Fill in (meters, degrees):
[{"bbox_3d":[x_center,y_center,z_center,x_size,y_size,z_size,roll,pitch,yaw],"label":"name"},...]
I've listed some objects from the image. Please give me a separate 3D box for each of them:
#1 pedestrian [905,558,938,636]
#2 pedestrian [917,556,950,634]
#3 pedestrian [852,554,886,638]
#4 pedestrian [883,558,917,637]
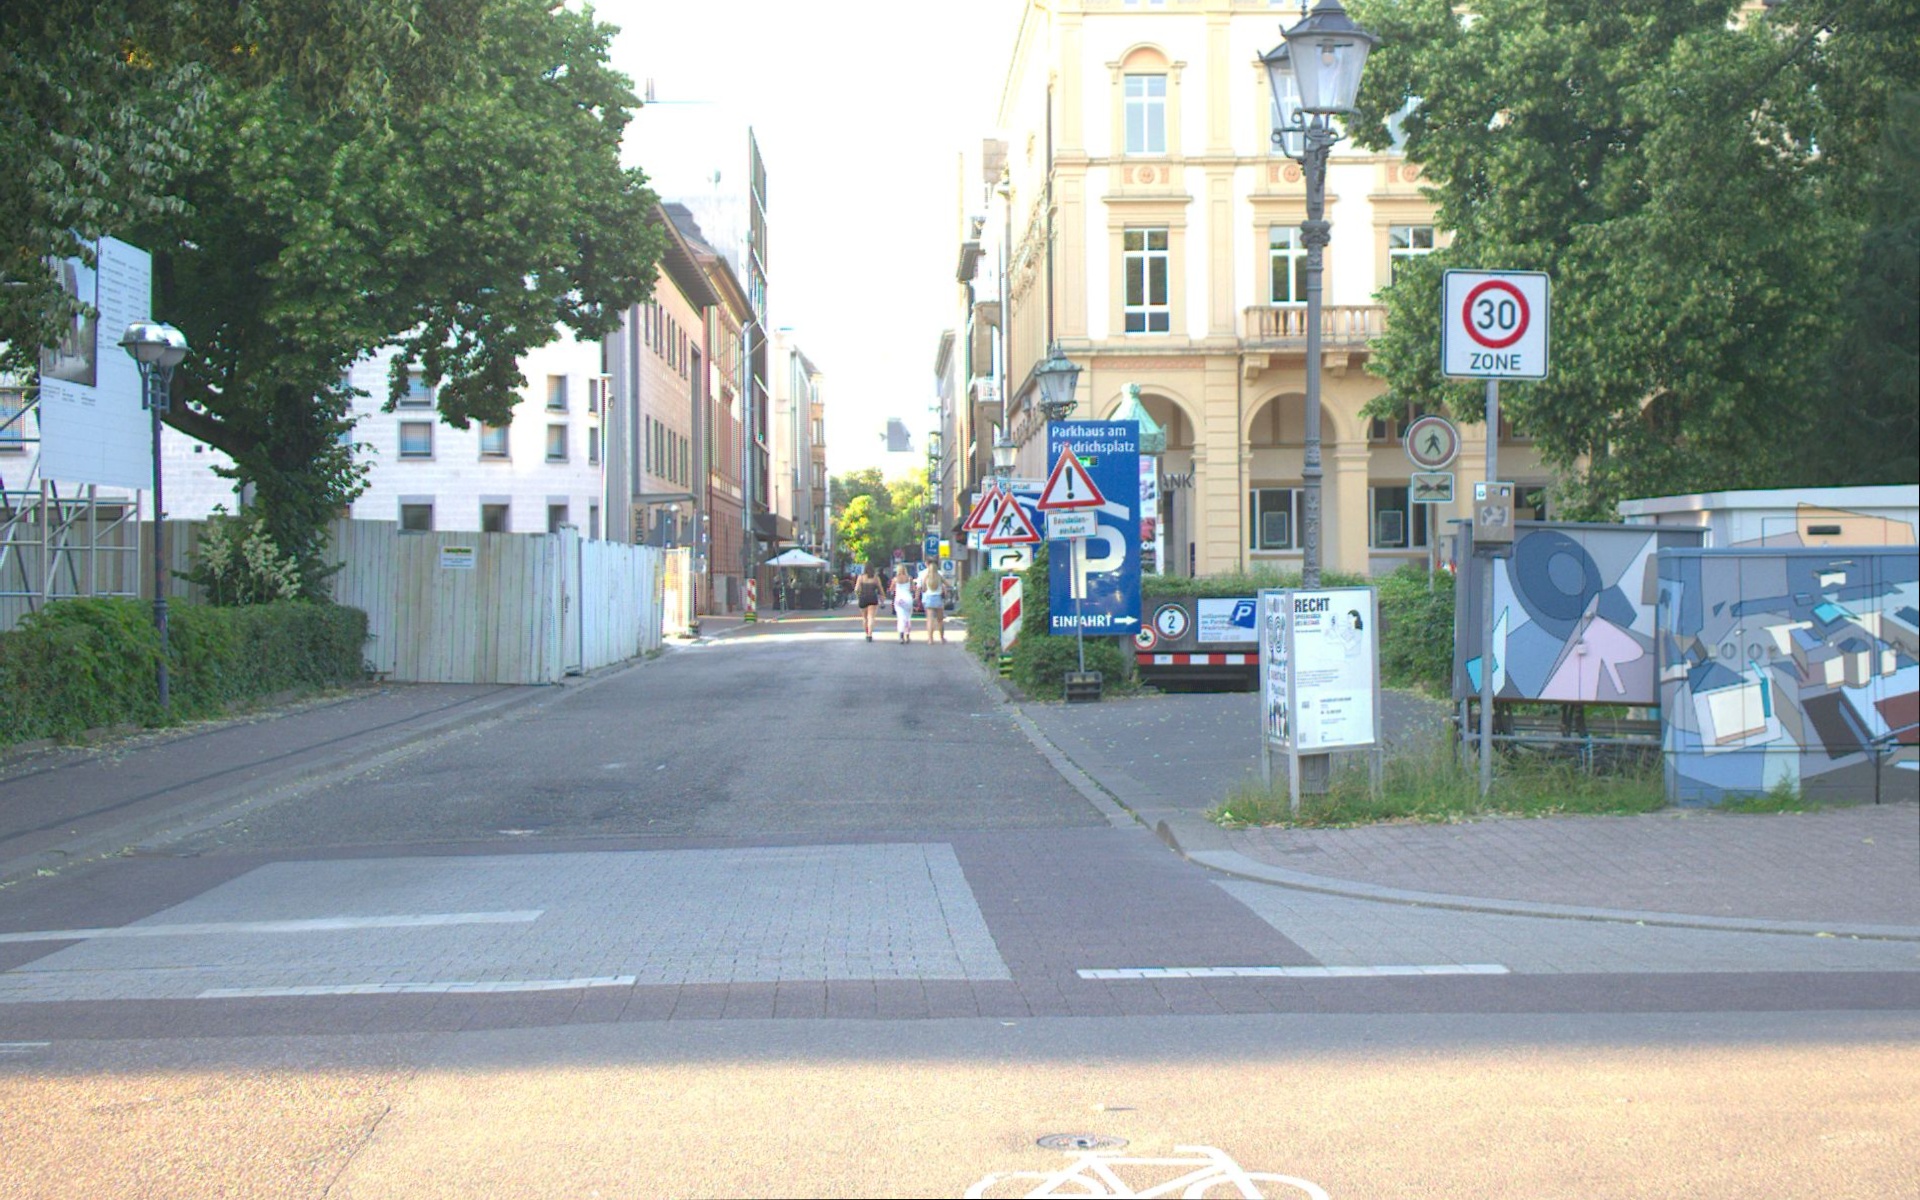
[{"bbox_3d":[-0.823,-0.060,72.870,0.657,1.630,0.745,-1,1,-1],"label":"pedestrian"},{"bbox_3d":[-0.557,-0.103,71.595,0.657,1.611,0.745,-1,1,-1],"label":"pedestrian"},{"bbox_3d":[-1.930,-0.086,72.907,0.657,1.754,0.745,-1,1,-1],"label":"pedestrian"},{"bbox_3d":[-1.251,-0.055,71.573,0.657,1.611,0.745,-1,1,-1],"label":"pedestrian"}]
